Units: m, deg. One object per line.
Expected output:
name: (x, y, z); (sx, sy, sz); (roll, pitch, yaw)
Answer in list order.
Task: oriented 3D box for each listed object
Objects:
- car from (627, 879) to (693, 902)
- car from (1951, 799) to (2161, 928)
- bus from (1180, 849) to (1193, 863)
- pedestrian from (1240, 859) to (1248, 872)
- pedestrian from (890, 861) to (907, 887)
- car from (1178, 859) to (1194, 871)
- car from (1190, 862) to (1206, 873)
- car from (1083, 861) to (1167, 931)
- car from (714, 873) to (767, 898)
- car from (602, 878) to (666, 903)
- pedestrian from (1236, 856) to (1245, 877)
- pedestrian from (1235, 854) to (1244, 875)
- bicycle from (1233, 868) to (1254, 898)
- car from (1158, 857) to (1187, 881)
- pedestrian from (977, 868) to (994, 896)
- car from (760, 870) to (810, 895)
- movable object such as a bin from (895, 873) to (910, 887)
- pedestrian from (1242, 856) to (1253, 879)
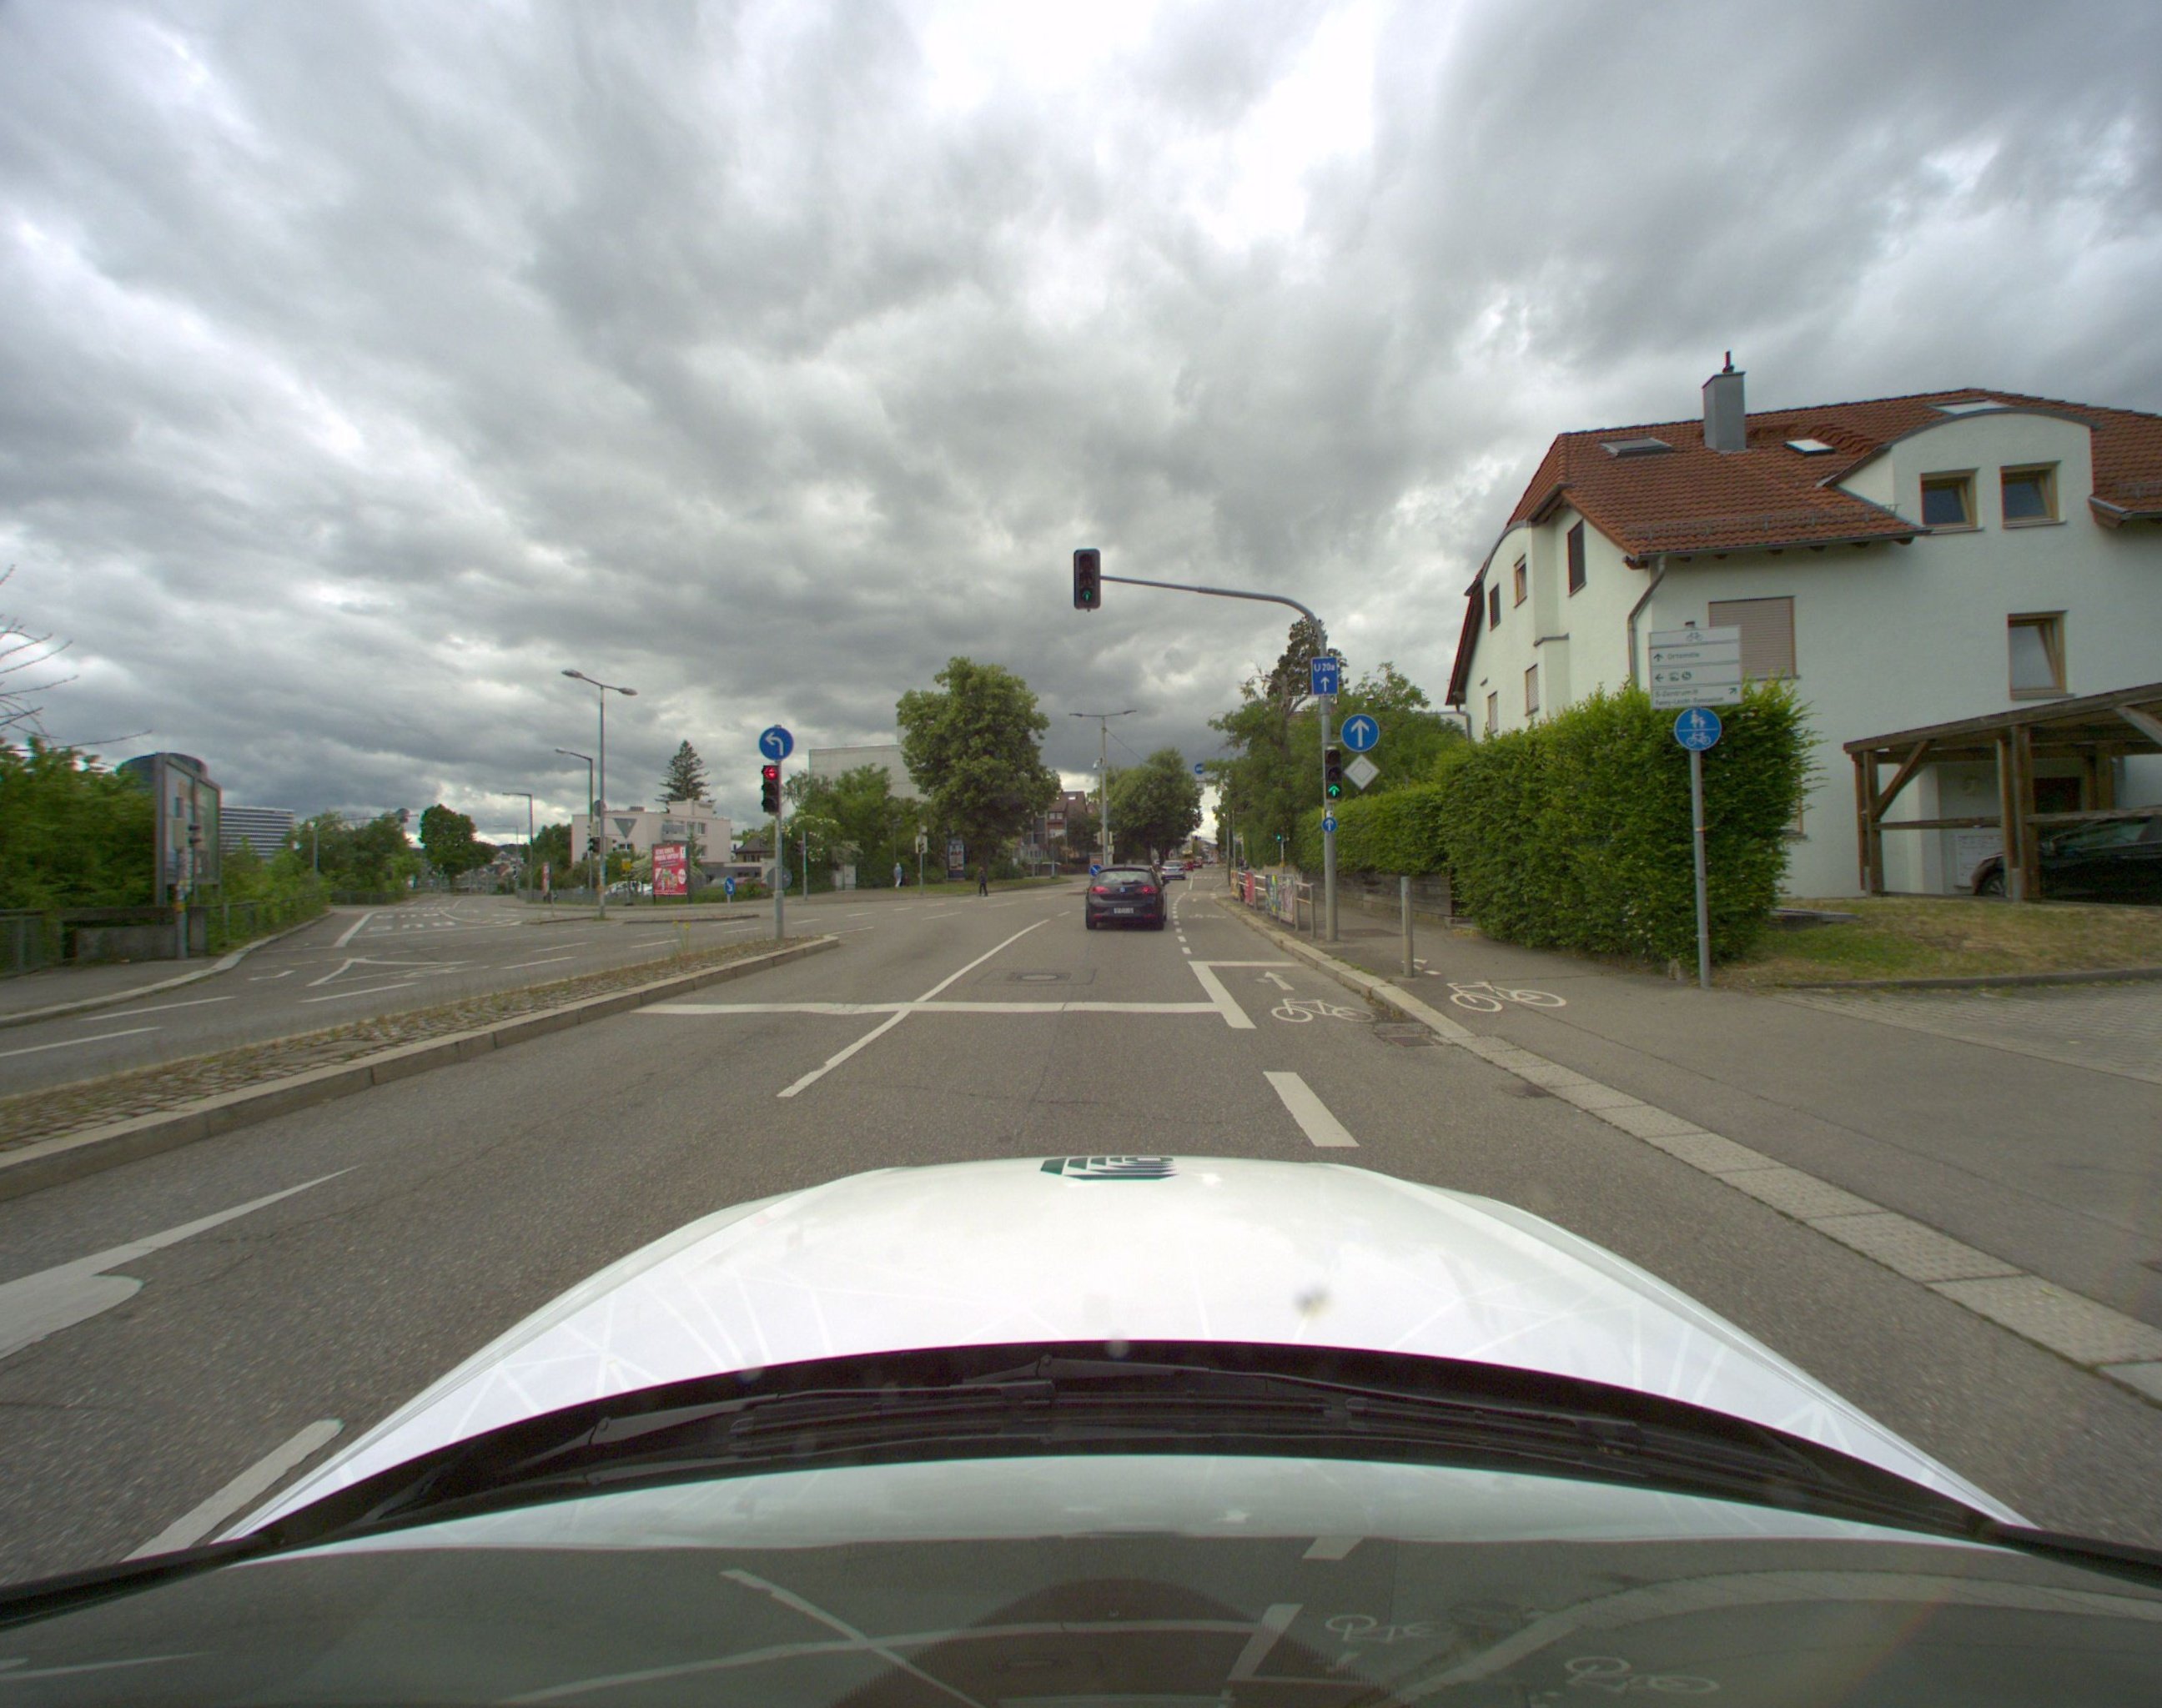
car: (-30.867, 2.649, 59.811); (1.780, 1.554, 4.022); (-2, -1, 24)
car: (13.070, 0.081, 9.565); (1.659, 1.449, 4.007); (-2, -1, 6)
bus: (24.451, 0.402, 188.308); (2.852, 3.136, 6.412); (-2, 0, 8)
pedestrian: (12.284, 0.878, 61.262); (0.452, 0.964, 0.383); (-5, -1, 3)
pedestrian: (-10.911, 1.218, 48.750); (0.652, 1.522, 0.925); (-2, -1, 6)
car: (13.532, 1.429, 104.966); (1.931, 1.481, 4.261); (-2, 0, 7)
car: (19.338, 2.190, 134.385); (1.979, 1.684, 4.016); (-2, -1, 15)
car: (1.113, 0.900, 19.119); (1.751, 1.449, 3.720); (1, 0, 6)
car: (-29.371, 2.668, 70.344); (1.978, 2.014, 4.018); (1, -1, 18)
car: (-34.412, 2.783, 62.783); (1.780, 1.718, 4.022); (-2, -1, 24)
pedestrian: (11.961, 0.944, 61.166); (0.545, 1.517, 0.363); (-4, 0, 18)
pedestrian: (13.479, 0.911, 69.332); (0.582, 1.712, 0.531); (-3, -1, 8)
bicycle: (5.822, 1.036, 29.256); (0.624, 1.028, 1.507); (-1, -1, 7)
car: (7.006, 1.118, 62.099); (1.807, 1.699, 4.265); (-2, 0, 10)
pedestrian: (-4.895, 1.431, 41.814); (0.772, 1.407, 0.599); (-1, -1, -4)
car: (-25.545, 2.403, 70.390); (1.978, 2.014, 4.018); (1, -1, 18)
movable object such as a bin: (-10.828, 1.583, 49.429); (0.652, 0.798, 0.899); (-2, -1, 6)
pedestrian: (11.864, 0.954, 58.024); (0.542, 1.555, 0.471); (-5, -1, 0)
